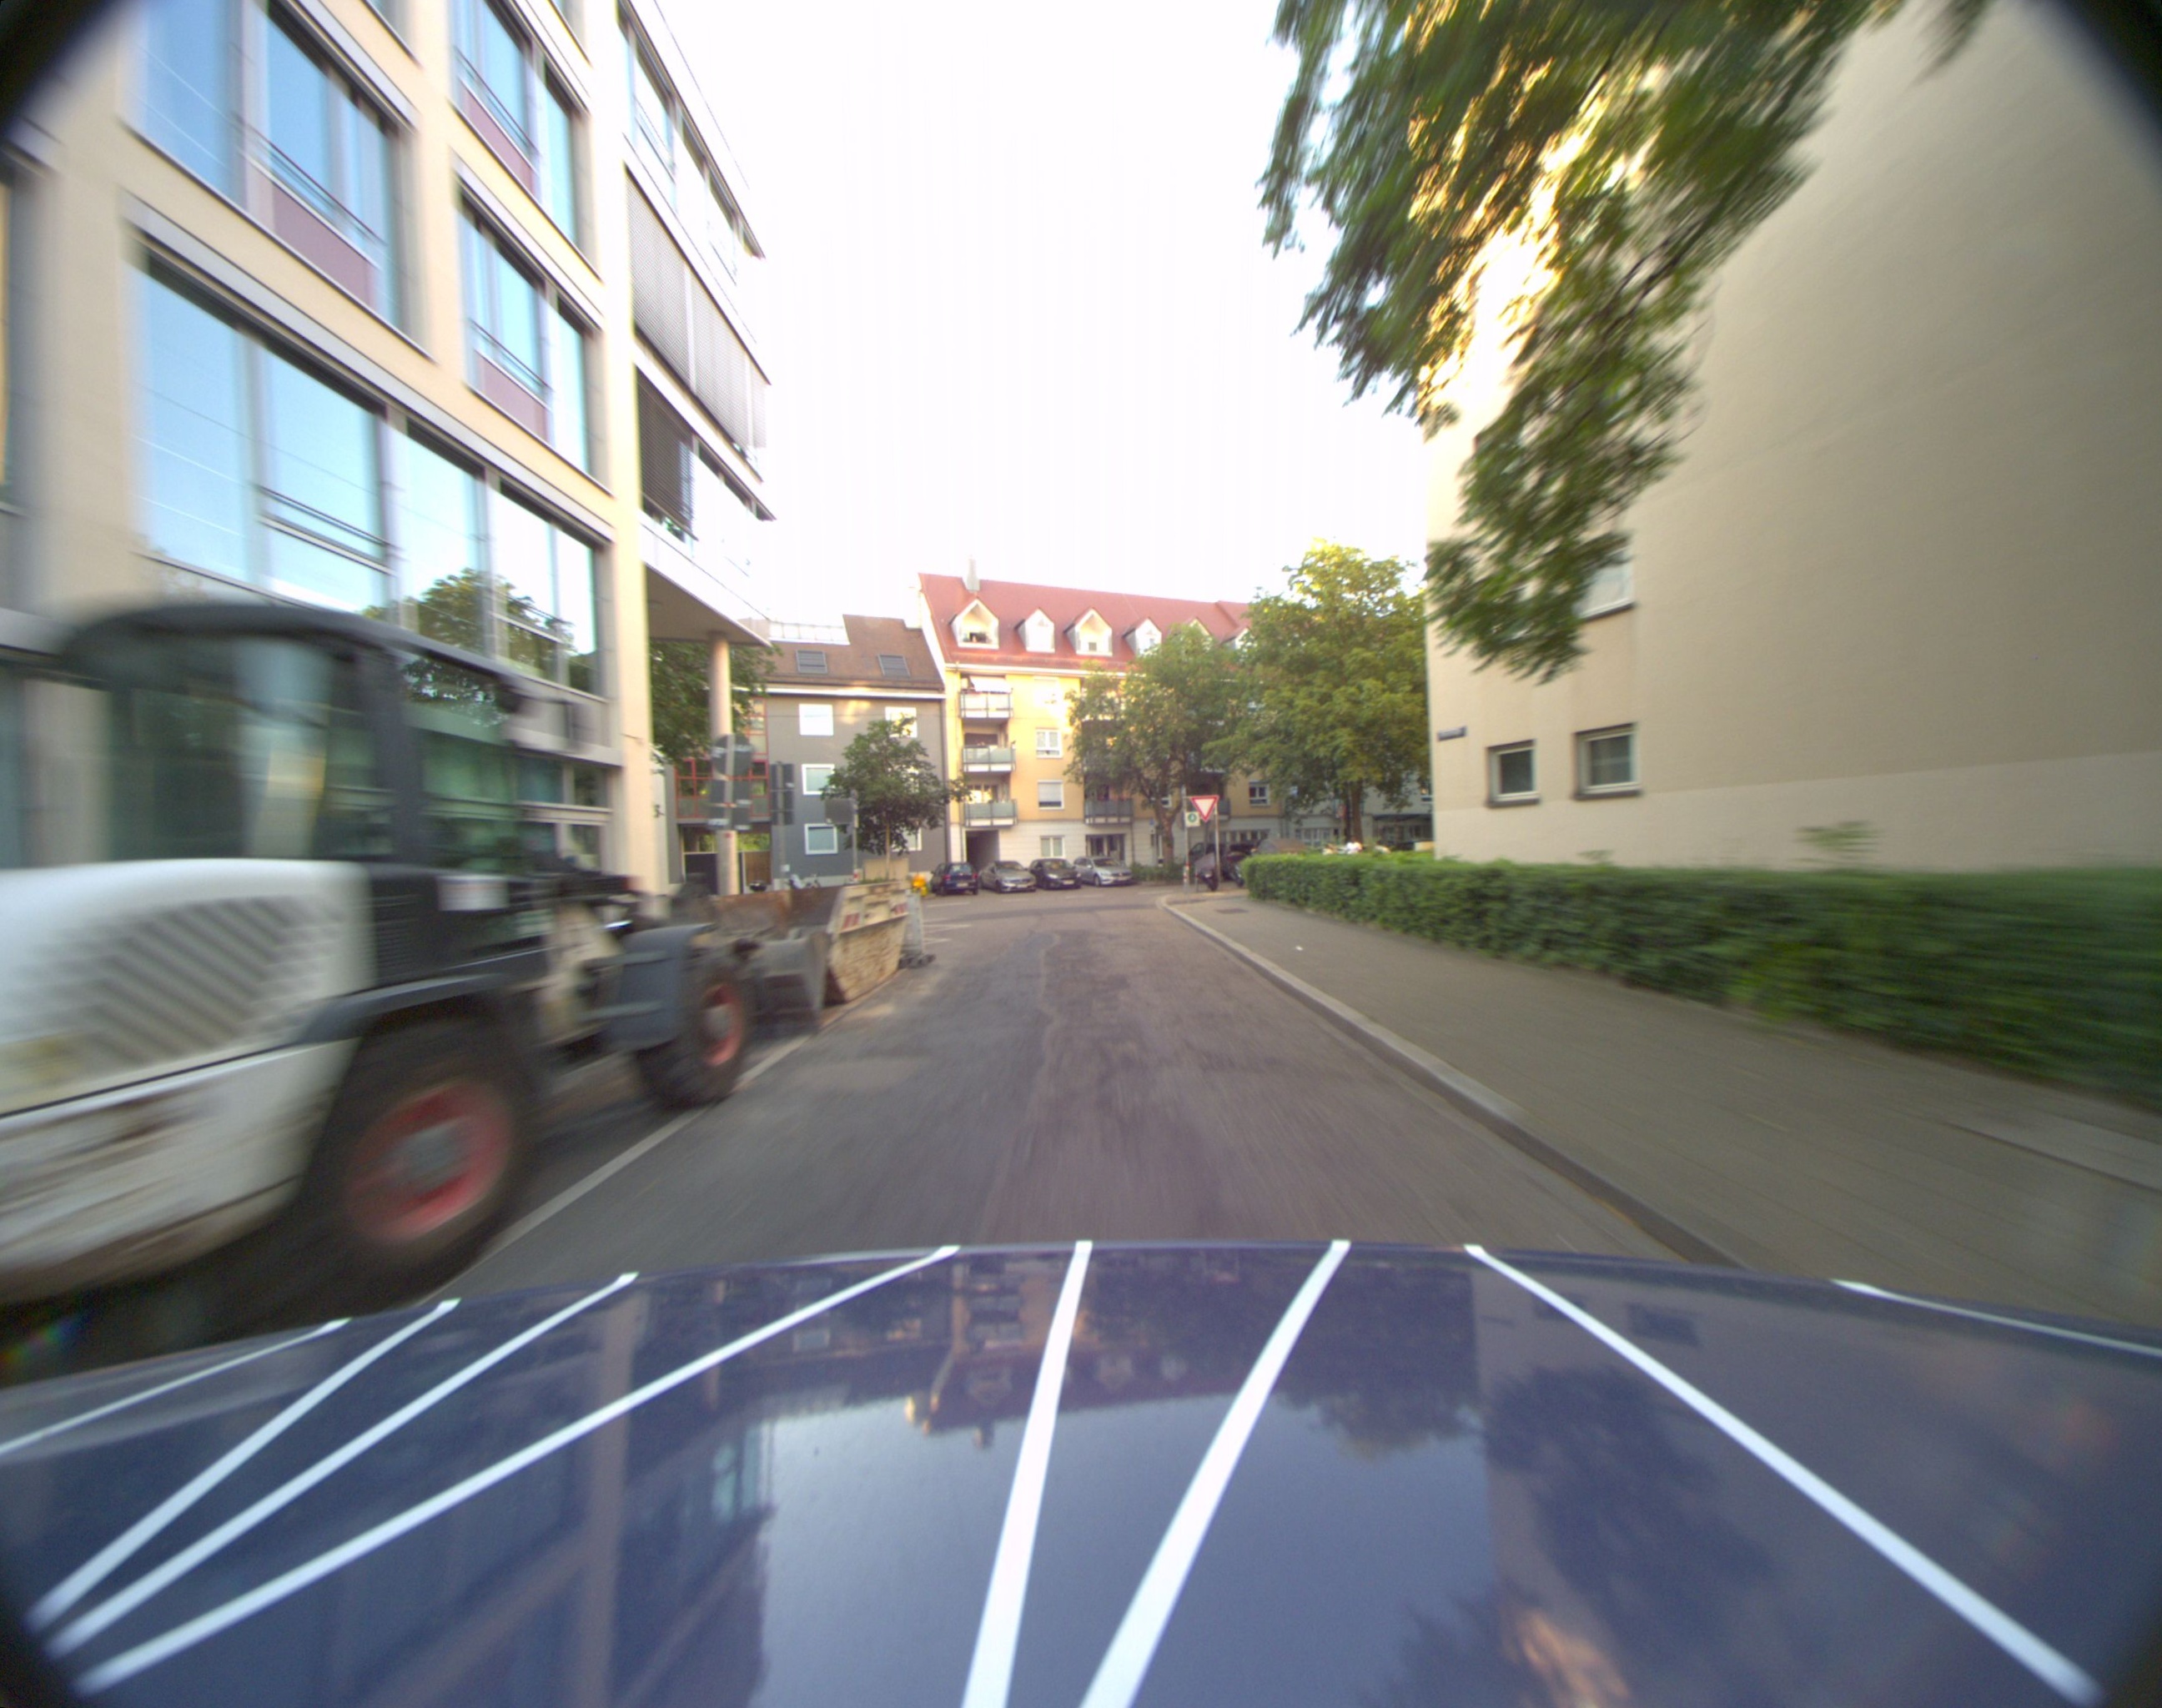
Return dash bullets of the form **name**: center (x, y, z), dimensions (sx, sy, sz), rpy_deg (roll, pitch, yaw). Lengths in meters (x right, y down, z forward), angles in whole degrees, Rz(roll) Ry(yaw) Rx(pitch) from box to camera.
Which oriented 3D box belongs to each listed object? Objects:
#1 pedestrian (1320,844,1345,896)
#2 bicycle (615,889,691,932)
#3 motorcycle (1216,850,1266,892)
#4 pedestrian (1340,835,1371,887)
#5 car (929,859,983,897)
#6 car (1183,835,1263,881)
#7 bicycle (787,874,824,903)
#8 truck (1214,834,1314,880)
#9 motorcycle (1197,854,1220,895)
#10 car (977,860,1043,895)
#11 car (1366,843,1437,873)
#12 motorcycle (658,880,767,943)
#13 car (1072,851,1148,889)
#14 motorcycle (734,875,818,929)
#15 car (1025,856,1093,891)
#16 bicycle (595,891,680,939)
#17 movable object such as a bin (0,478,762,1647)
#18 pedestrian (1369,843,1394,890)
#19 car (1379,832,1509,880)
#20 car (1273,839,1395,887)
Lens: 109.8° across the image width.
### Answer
- **pedestrian**: center (8.769, 0.548, 26.490), dimensions (0.697, 1.777, 0.530), rpy_deg (-2, 0, 28)
- **bicycle**: center (-12.153, 1.594, 21.619), dimensions (1.801, 1.111, 0.602), rpy_deg (-2, 0, -22)
- **motorcycle**: center (5.963, 0.647, 28.497), dimensions (0.692, 1.485, 2.221), rpy_deg (-3, 0, -20)
- **pedestrian**: center (9.636, 0.236, 26.687), dimensions (0.666, 1.777, 0.698), rpy_deg (-2, 0, -18)
- **car**: center (-5.827, 1.046, 35.135), dimensions (1.748, 1.517, 3.355), rpy_deg (-2, 2, -21)
- **car**: center (7.477, 0.141, 40.530), dimensions (2.038, 2.122, 4.624), rpy_deg (-2, 4, -22)
- **bicycle**: center (-12.388, 1.529, 34.206), dimensions (1.501, 1.166, 0.726), rpy_deg (-2, 5, -21)
- **truck**: center (9.911, 0.072, 41.760), dimensions (2.263, 2.122, 6.009), rpy_deg (-2, 4, -22)
- **motorcycle**: center (4.501, 0.702, 26.968), dimensions (0.722, 1.366, 2.226), rpy_deg (-2, 0, 9)
- **car**: center (-3.446, 1.086, 36.345), dimensions (1.874, 1.499, 4.286), rpy_deg (-2, 0, -23)
- **car**: center (19.059, 0.188, 45.311), dimensions (1.782, 1.540, 3.667), rpy_deg (-4, 4, -24)
- **motorcycle**: center (-8.162, 1.258, 16.940), dimensions (2.128, 1.266, 0.615), rpy_deg (-1, 0, -23)
- **car**: center (1.363, 0.806, 38.145), dimensions (1.838, 1.694, 4.803), rpy_deg (-3, 0, -24)
- **motorcycle**: center (-8.668, 1.360, 21.561), dimensions (2.373, 1.432, 0.803), rpy_deg (-2, 0, 28)
- **car**: center (-1.124, 0.929, 37.114), dimensions (1.855, 1.554, 4.073), rpy_deg (-3, 0, -24)
- **bicycle**: center (-11.455, 1.556, 19.688), dimensions (1.801, 1.111, 0.602), rpy_deg (-2, 0, -22)
- **movable object such as a bin**: center (-3.274, 0.473, 3.308), dimensions (1.800, 2.619, 4.111), rpy_deg (-2, 0, 2)
- **pedestrian**: center (10.020, 0.412, 25.343), dimensions (0.448, 1.563, 0.660), rpy_deg (-2, 1, -18)
- **car**: center (14.635, 0.127, 30.917), dimensions (2.066, 1.674, 4.403), rpy_deg (-2, -2, -24)
- **car**: center (9.759, 0.405, 29.734), dimensions (2.057, 1.571, 4.507), rpy_deg (-3, -2, -21)
